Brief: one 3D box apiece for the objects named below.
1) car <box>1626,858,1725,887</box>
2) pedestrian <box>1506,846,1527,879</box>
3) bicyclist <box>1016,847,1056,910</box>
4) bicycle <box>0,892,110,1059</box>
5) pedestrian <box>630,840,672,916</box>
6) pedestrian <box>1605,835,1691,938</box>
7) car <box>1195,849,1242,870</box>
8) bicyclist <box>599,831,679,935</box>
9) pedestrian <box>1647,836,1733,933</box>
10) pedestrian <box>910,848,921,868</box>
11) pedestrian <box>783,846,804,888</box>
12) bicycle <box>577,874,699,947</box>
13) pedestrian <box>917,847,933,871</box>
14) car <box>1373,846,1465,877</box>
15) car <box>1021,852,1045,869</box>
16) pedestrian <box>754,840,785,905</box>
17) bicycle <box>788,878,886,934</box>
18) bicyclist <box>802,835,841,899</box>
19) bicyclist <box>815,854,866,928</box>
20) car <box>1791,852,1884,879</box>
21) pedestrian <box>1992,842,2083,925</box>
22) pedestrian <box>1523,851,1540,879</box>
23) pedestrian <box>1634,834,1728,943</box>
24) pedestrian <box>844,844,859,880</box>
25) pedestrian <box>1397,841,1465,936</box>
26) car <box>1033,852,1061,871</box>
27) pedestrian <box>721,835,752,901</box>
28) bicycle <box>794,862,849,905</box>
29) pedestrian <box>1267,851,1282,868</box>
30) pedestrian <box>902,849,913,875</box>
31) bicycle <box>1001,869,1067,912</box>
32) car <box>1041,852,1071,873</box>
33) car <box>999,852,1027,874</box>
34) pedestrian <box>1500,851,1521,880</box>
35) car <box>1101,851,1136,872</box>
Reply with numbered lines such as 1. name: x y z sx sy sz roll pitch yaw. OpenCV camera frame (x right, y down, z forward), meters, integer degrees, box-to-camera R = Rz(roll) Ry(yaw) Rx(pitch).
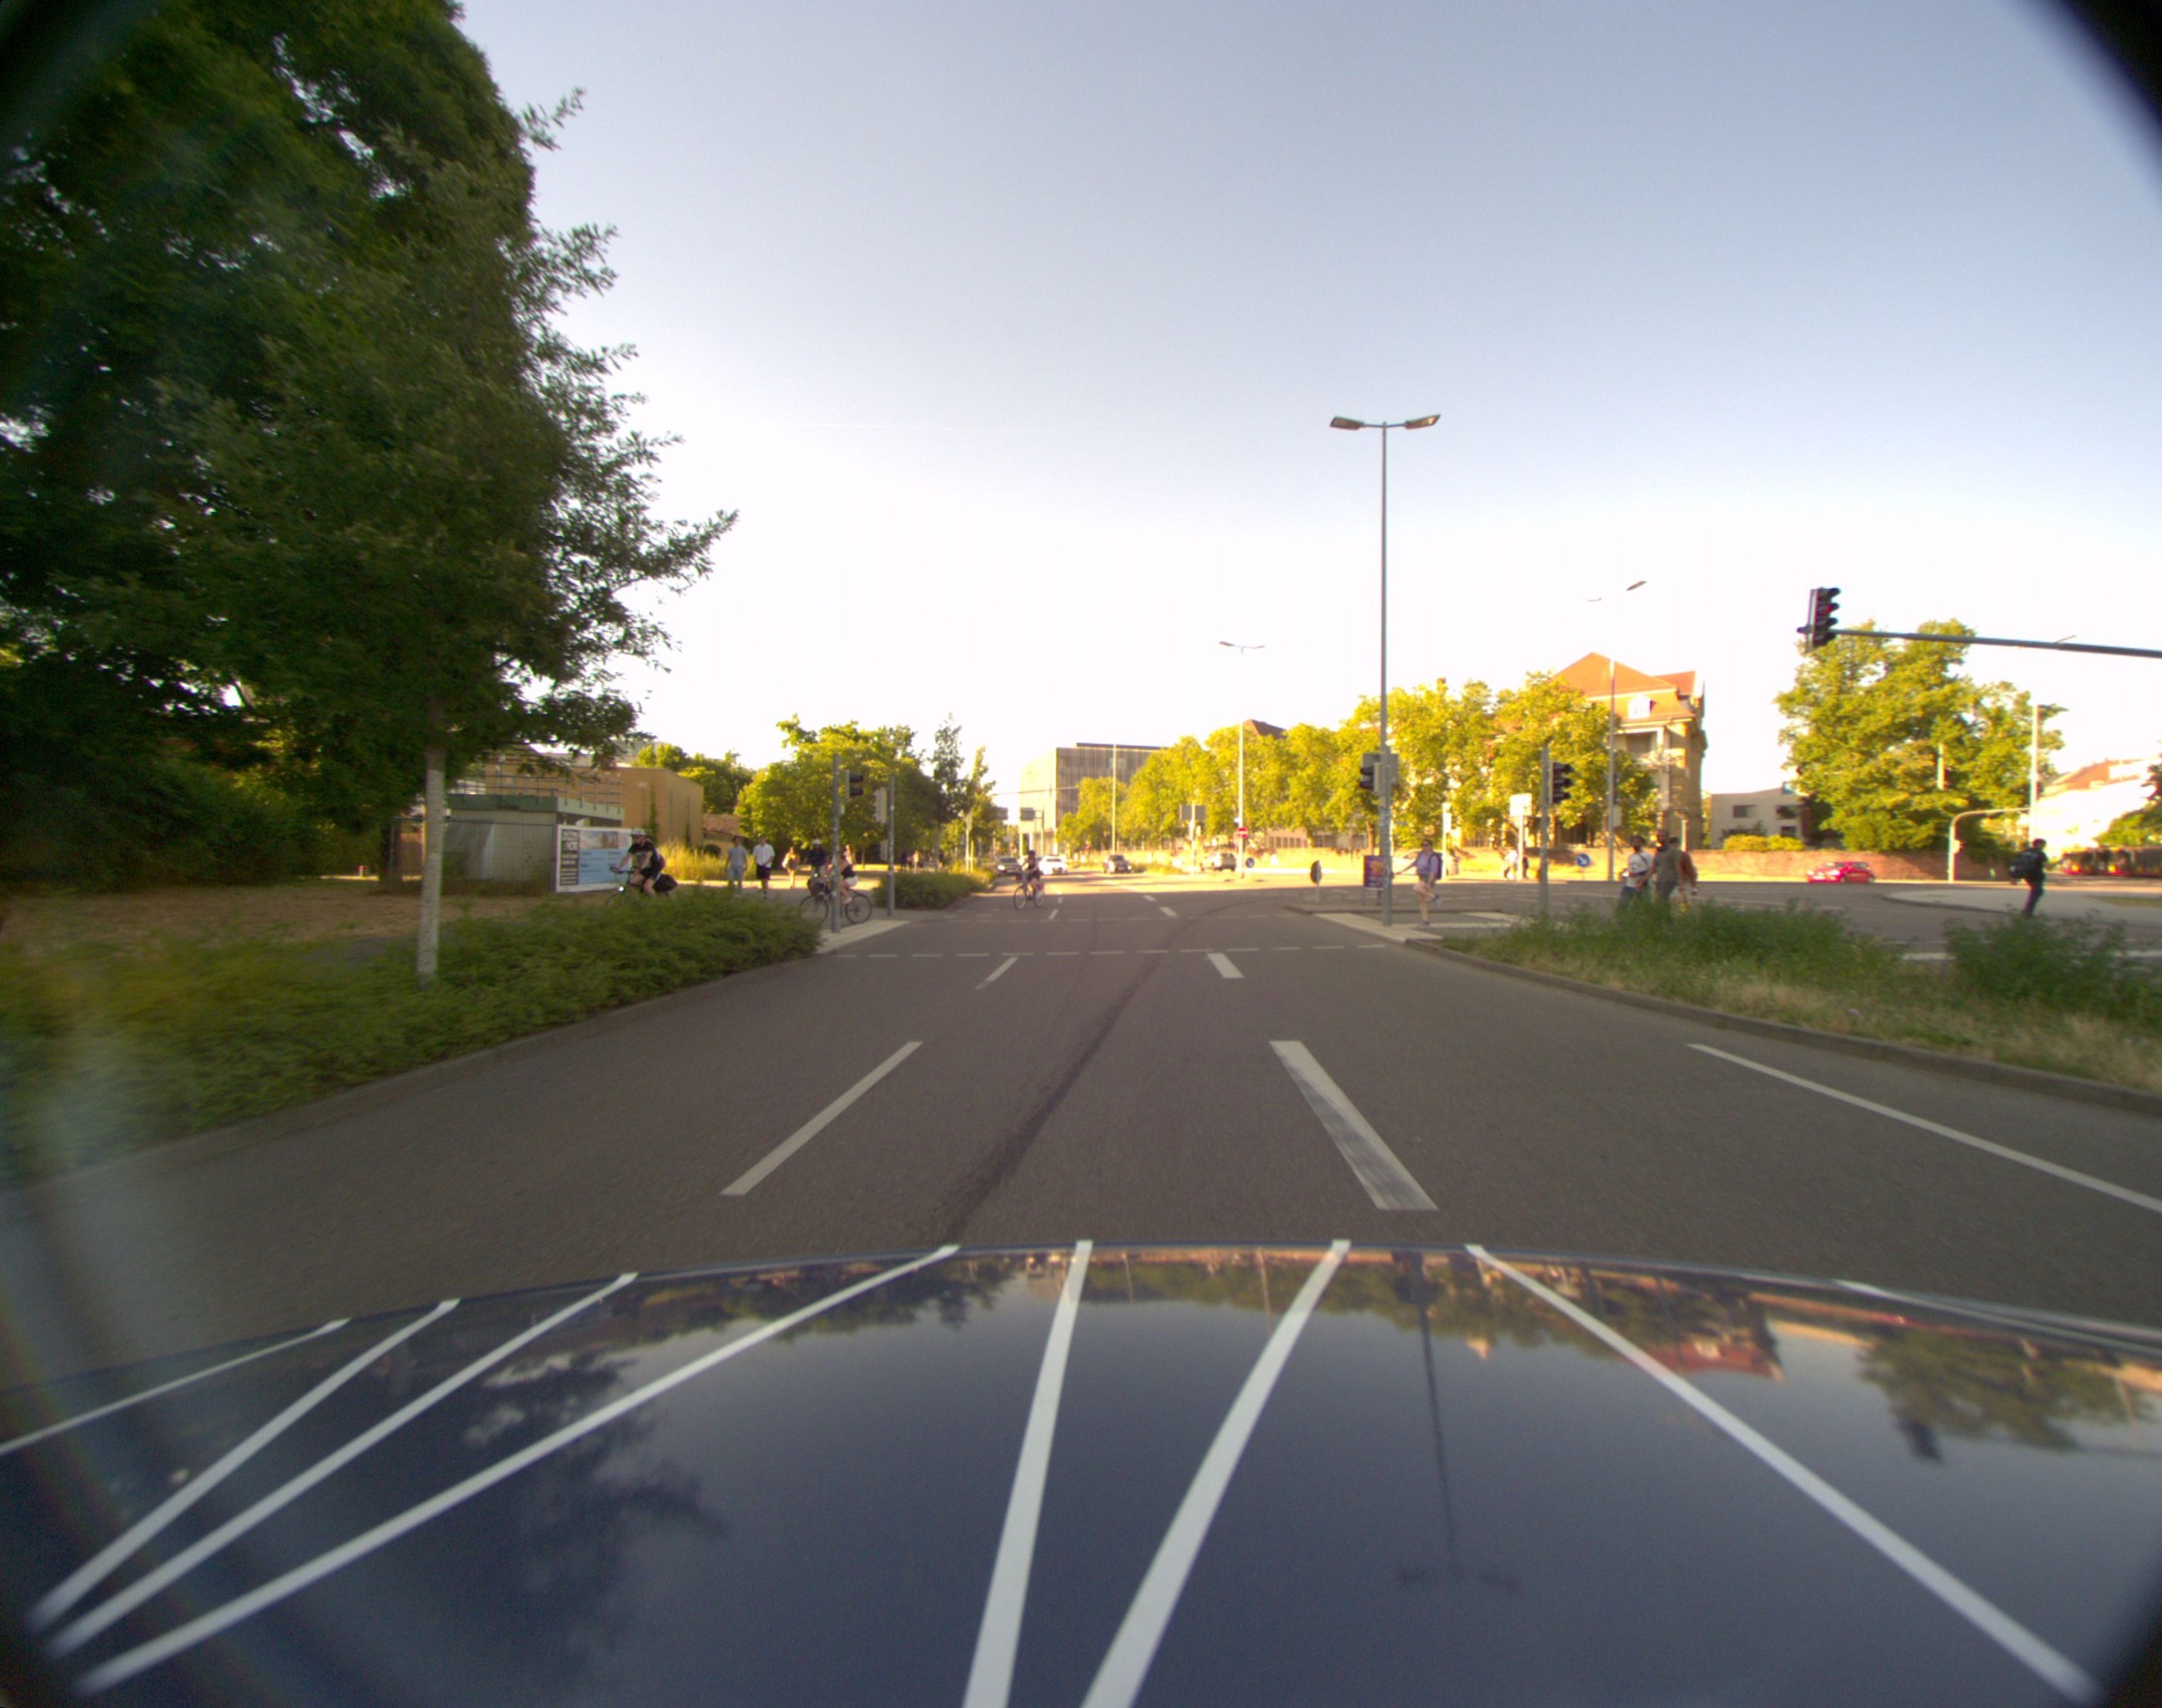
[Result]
1. car: 33.459 1.055 42.767 4.610 1.576 2.192 0 -2 -18
2. pedestrian: 26.227 0.508 45.787 0.871 1.884 0.713 1 4 15
3. bicyclist: -1.306 0.701 22.098 0.715 1.777 0.851 -1 1 38
4. bicycle: -8.299 0.918 5.038 0.780 1.149 2.290 3 1 0
5. pedestrian: -9.762 0.530 17.262 0.622 1.689 0.630 0 1 -3
6. pedestrian: 9.888 0.550 13.279 0.927 1.731 0.757 0 1 4
7. car: 11.183 0.415 62.195 2.157 1.611 4.356 0 0 -14
8. bicyclist: -8.066 0.510 13.922 0.779 1.820 1.093 0 1 4
9. pedestrian: 11.154 0.536 13.942 0.927 1.731 0.788 0 1 4
10. pedestrian: -12.983 0.313 59.660 0.763 1.534 0.846 1 1 -17
11. pedestrian: -10.879 0.472 28.776 0.623 1.565 0.638 0 1 -12
12. bicycle: -8.066 0.986 13.987 0.779 1.149 2.292 0 0 4
13. pedestrian: -11.308 0.339 55.179 1.019 1.739 0.848 1 1 -17
14. car: 18.997 0.442 42.958 4.596 1.673 2.199 -1 -2 19
15. car: -4.526 0.563 70.956 1.925 1.510 4.014 0 0 -8
16. pedestrian: -9.092 0.523 22.189 0.575 1.858 0.624 1 1 39
17. bicycle: -5.222 1.087 16.328 1.873 1.114 0.717 1 -2 -39
18. bicyclist: -7.601 0.374 22.272 0.780 1.823 1.093 0 1 -1
19. bicyclist: -5.181 0.789 16.364 0.851 1.539 0.715 1 -1 -39
20. car: 46.557 0.728 46.802 4.610 1.576 2.192 0 -2 -18
21. pedestrian: 19.745 0.602 15.704 0.899 1.675 0.748 0 0 4
22. pedestrian: 27.500 0.655 46.371 0.791 1.644 0.714 3 5 30
23. pedestrian: 9.820 0.553 12.471 0.927 1.731 0.757 0 1 4
24. pedestrian: -11.122 0.374 36.809 0.676 1.694 0.875 0 1 -17
25. pedestrian: 6.588 0.631 14.340 0.927 1.731 0.757 0 1 4
26. car: -2.935 0.596 64.447 1.925 1.510 4.014 0 0 -8
27. pedestrian: -9.886 0.383 21.806 0.575 1.858 0.624 1 1 39
28. bicycle: -7.610 0.844 22.385 0.780 1.149 2.580 0 0 -1
29. pedestrian: 17.273 0.481 67.845 0.974 1.528 0.921 0 1 -11
30. pedestrian: -11.505 0.508 50.316 0.713 1.703 0.733 0 1 -12
31. bicycle: -1.335 1.031 22.069 0.717 1.115 2.070 -1 1 38
32. car: -1.924 0.600 57.228 1.803 1.510 4.428 0 0 -8
33. car: -5.006 0.648 55.221 1.803 1.510 3.996 0 0 -8
34. pedestrian: 25.569 0.662 45.248 0.871 1.665 0.713 1 4 15
35. car: 2.807 0.534 57.750 1.925 1.510 4.014 0 0 -8
